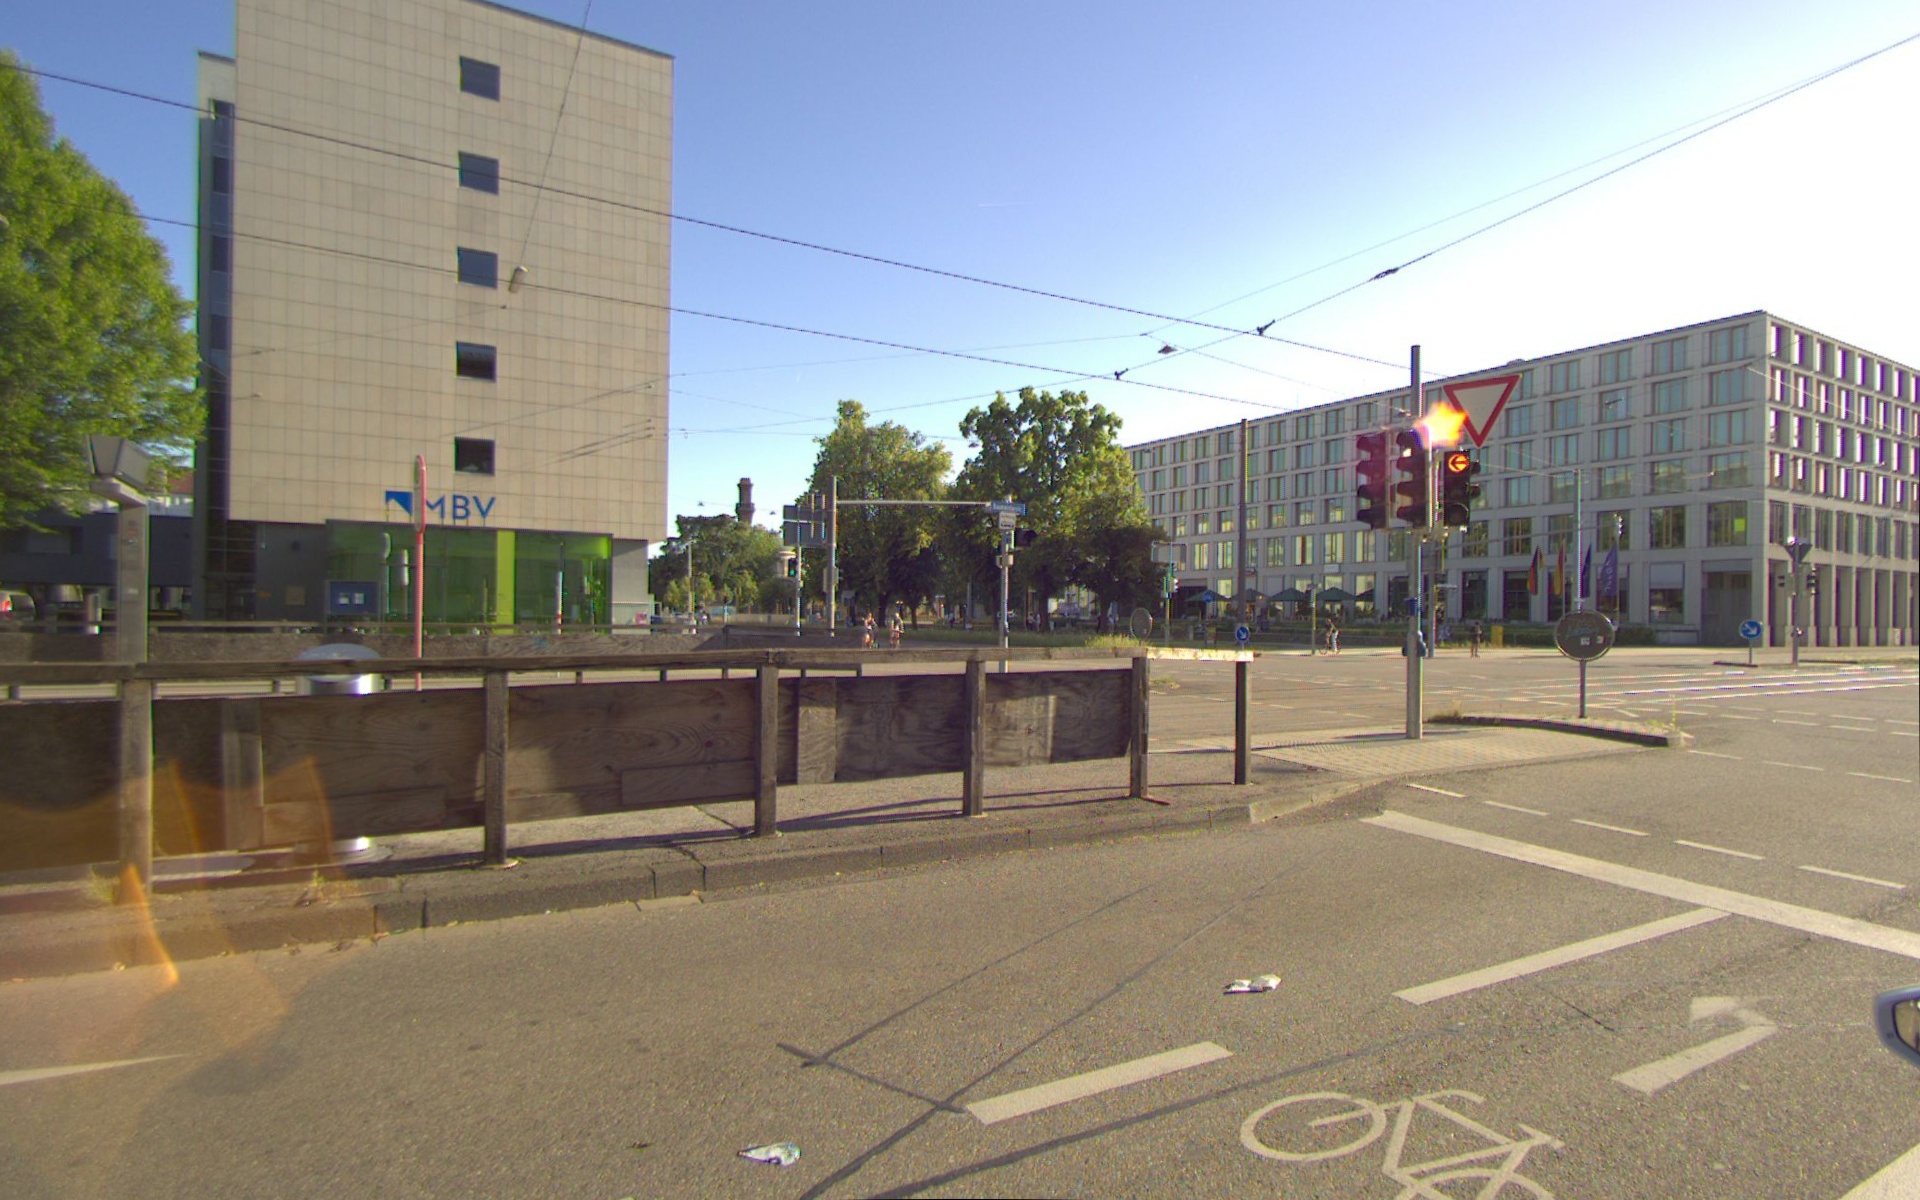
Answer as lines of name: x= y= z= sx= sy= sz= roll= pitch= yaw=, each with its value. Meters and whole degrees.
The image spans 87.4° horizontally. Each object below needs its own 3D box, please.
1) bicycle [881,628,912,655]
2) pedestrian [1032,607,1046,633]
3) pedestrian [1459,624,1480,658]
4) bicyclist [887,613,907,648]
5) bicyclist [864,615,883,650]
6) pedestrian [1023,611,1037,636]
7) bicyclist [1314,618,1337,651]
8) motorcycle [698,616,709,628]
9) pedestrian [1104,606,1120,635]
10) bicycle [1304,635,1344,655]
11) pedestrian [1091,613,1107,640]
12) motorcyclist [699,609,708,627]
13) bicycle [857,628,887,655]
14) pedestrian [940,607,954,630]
bicycle: x=-2.840 y=1.853 z=44.776 sx=0.616 sy=1.148 sz=1.869 roll=1 pitch=-1 yaw=-31
pedestrian: x=6.336 y=1.621 z=80.418 sx=0.813 sy=2.040 sz=0.841 roll=2 pitch=0 yaw=-22
pedestrian: x=24.911 y=1.993 z=49.094 sx=0.586 sy=1.610 sz=0.769 roll=1 pitch=-1 yaw=-39
bicyclist: x=-2.805 y=1.376 z=44.736 sx=0.602 sy=1.544 sz=0.709 roll=1 pitch=-1 yaw=-32
bicyclist: x=-3.831 y=1.426 z=44.498 sx=0.647 sy=1.544 sz=0.615 roll=1 pitch=-1 yaw=-32
pedestrian: x=5.549 y=1.842 z=79.724 sx=0.862 sy=1.925 sz=0.714 roll=2 pitch=0 yaw=-23
bicyclist: x=18.014 y=1.714 z=49.503 sx=0.765 sy=1.610 sz=0.758 roll=1 pitch=-1 yaw=-19
motorcycle: x=-23.393 y=2.014 z=91.691 sx=0.524 sy=1.153 sz=1.449 roll=1 pitch=-1 yaw=-34
pedestrian: x=11.104 y=1.506 z=73.588 sx=0.812 sy=2.040 sz=0.841 roll=2 pitch=0 yaw=-20
bicycle: x=17.937 y=2.197 z=49.482 sx=1.835 sy=0.947 sz=0.759 roll=1 pitch=-1 yaw=-20
pedestrian: x=10.153 y=1.949 z=73.206 sx=0.861 sy=1.925 sz=0.714 roll=2 pitch=0 yaw=-20
motorcyclist: x=-23.389 y=1.619 z=91.689 sx=0.561 sy=1.598 sz=0.642 roll=1 pitch=-1 yaw=-34
bicycle: x=-3.908 y=1.822 z=44.601 sx=0.574 sy=1.148 sz=1.776 roll=1 pitch=-1 yaw=-31
pedestrian: x=-1.186 y=1.679 z=91.190 sx=0.818 sy=2.040 sz=0.835 roll=2 pitch=0 yaw=-41
